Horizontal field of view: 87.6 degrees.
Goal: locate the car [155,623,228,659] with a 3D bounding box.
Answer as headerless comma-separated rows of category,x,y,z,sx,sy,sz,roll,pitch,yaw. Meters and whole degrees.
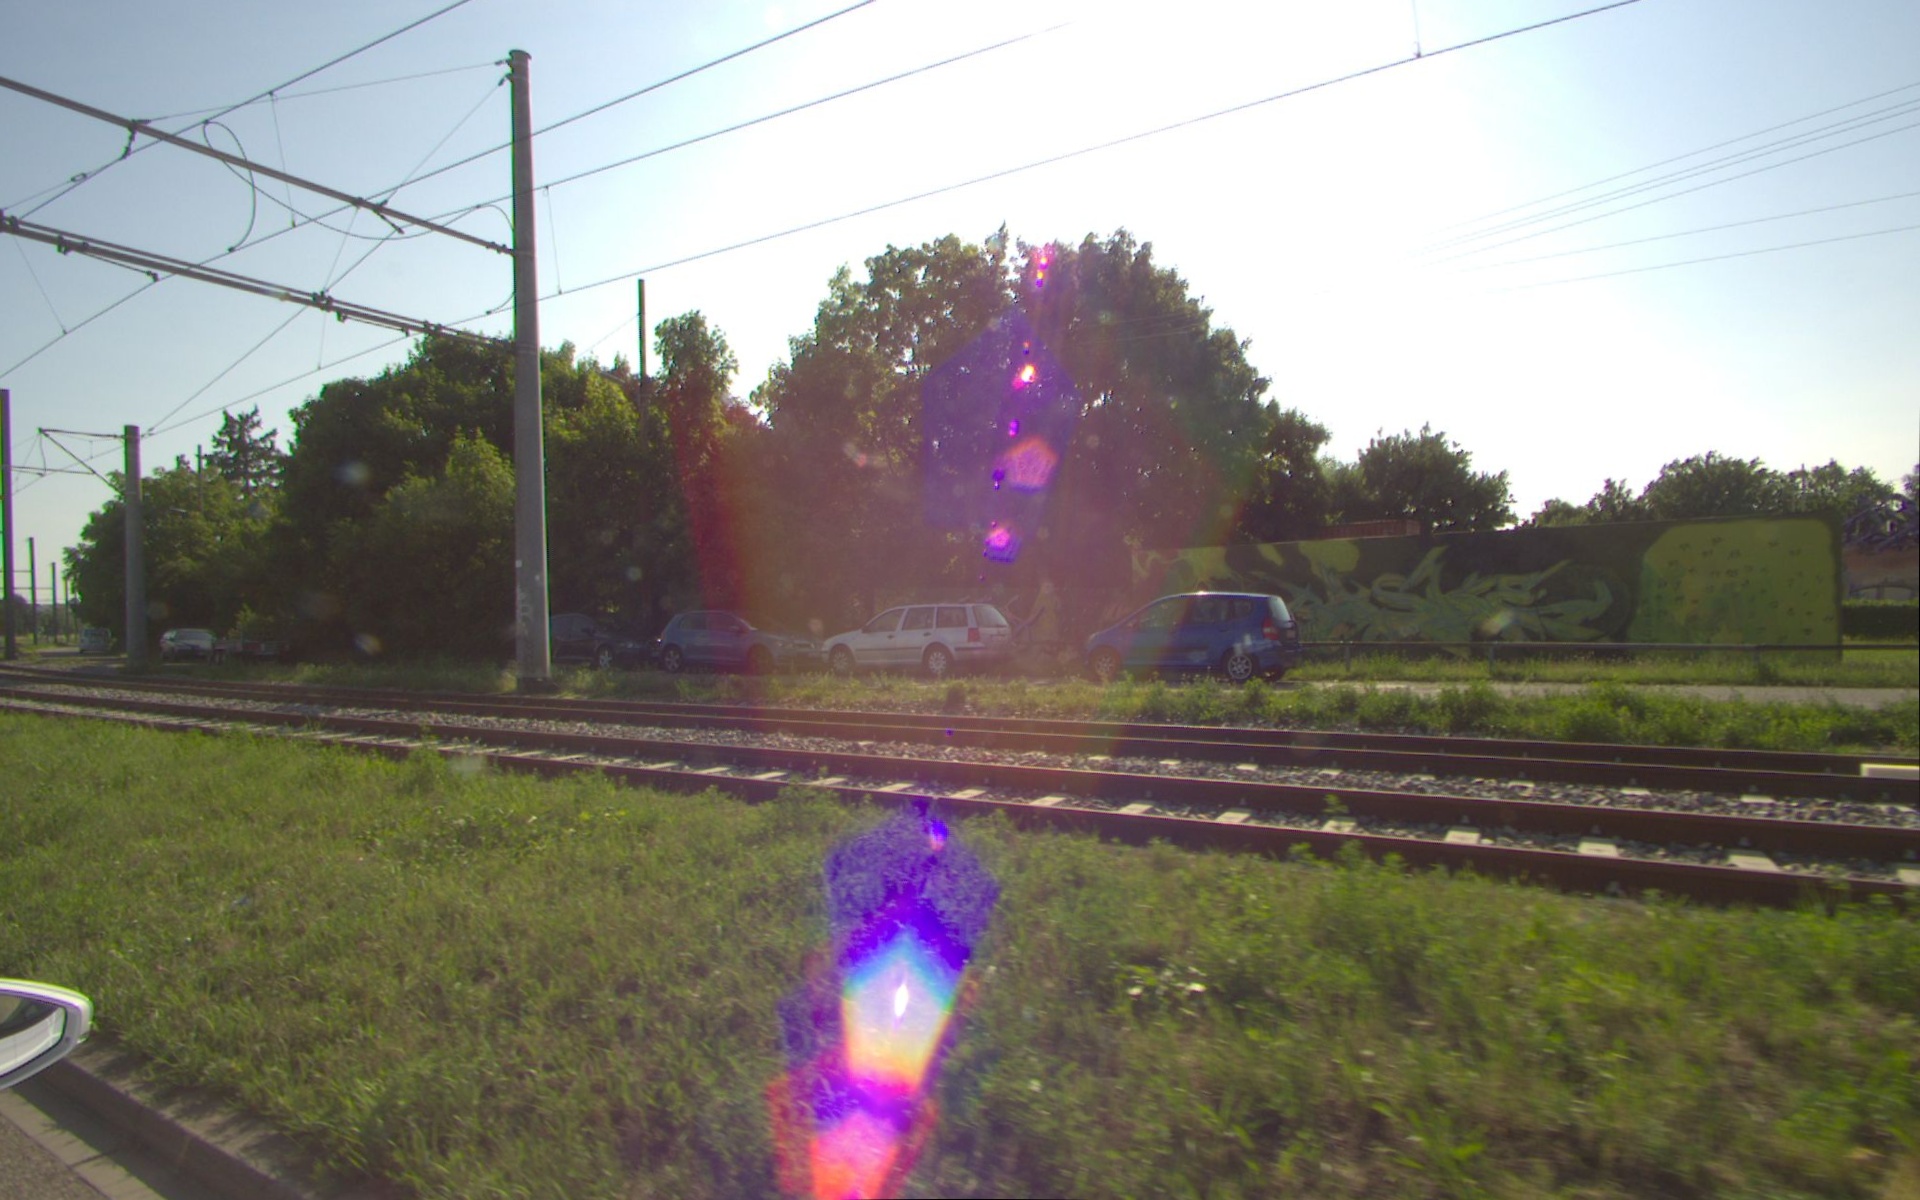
car,-33.141,1.760,43.147,4.828,1.475,1.690,-1,-3,43

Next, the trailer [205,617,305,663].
trailer,-26.470,1.511,37.557,4.210,1.616,2.019,-2,-3,40

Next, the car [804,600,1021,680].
car,-1.031,0.782,20.670,4.330,1.485,1.704,-1,0,34

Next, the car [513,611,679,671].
car,-9.373,1.052,25.653,4.457,1.428,1.620,-1,-2,32

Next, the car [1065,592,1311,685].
car,3.913,0.652,17.441,3.860,1.448,1.673,-1,-2,36

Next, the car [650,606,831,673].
car,-5.060,0.897,22.938,4.087,1.419,1.483,-1,0,29

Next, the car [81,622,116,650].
car,-66.934,2.810,77.808,1.979,2.029,5.023,3,-3,-41

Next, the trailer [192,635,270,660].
trailer,-29.371,1.918,40.315,3.685,0.951,1.724,-2,-4,41
